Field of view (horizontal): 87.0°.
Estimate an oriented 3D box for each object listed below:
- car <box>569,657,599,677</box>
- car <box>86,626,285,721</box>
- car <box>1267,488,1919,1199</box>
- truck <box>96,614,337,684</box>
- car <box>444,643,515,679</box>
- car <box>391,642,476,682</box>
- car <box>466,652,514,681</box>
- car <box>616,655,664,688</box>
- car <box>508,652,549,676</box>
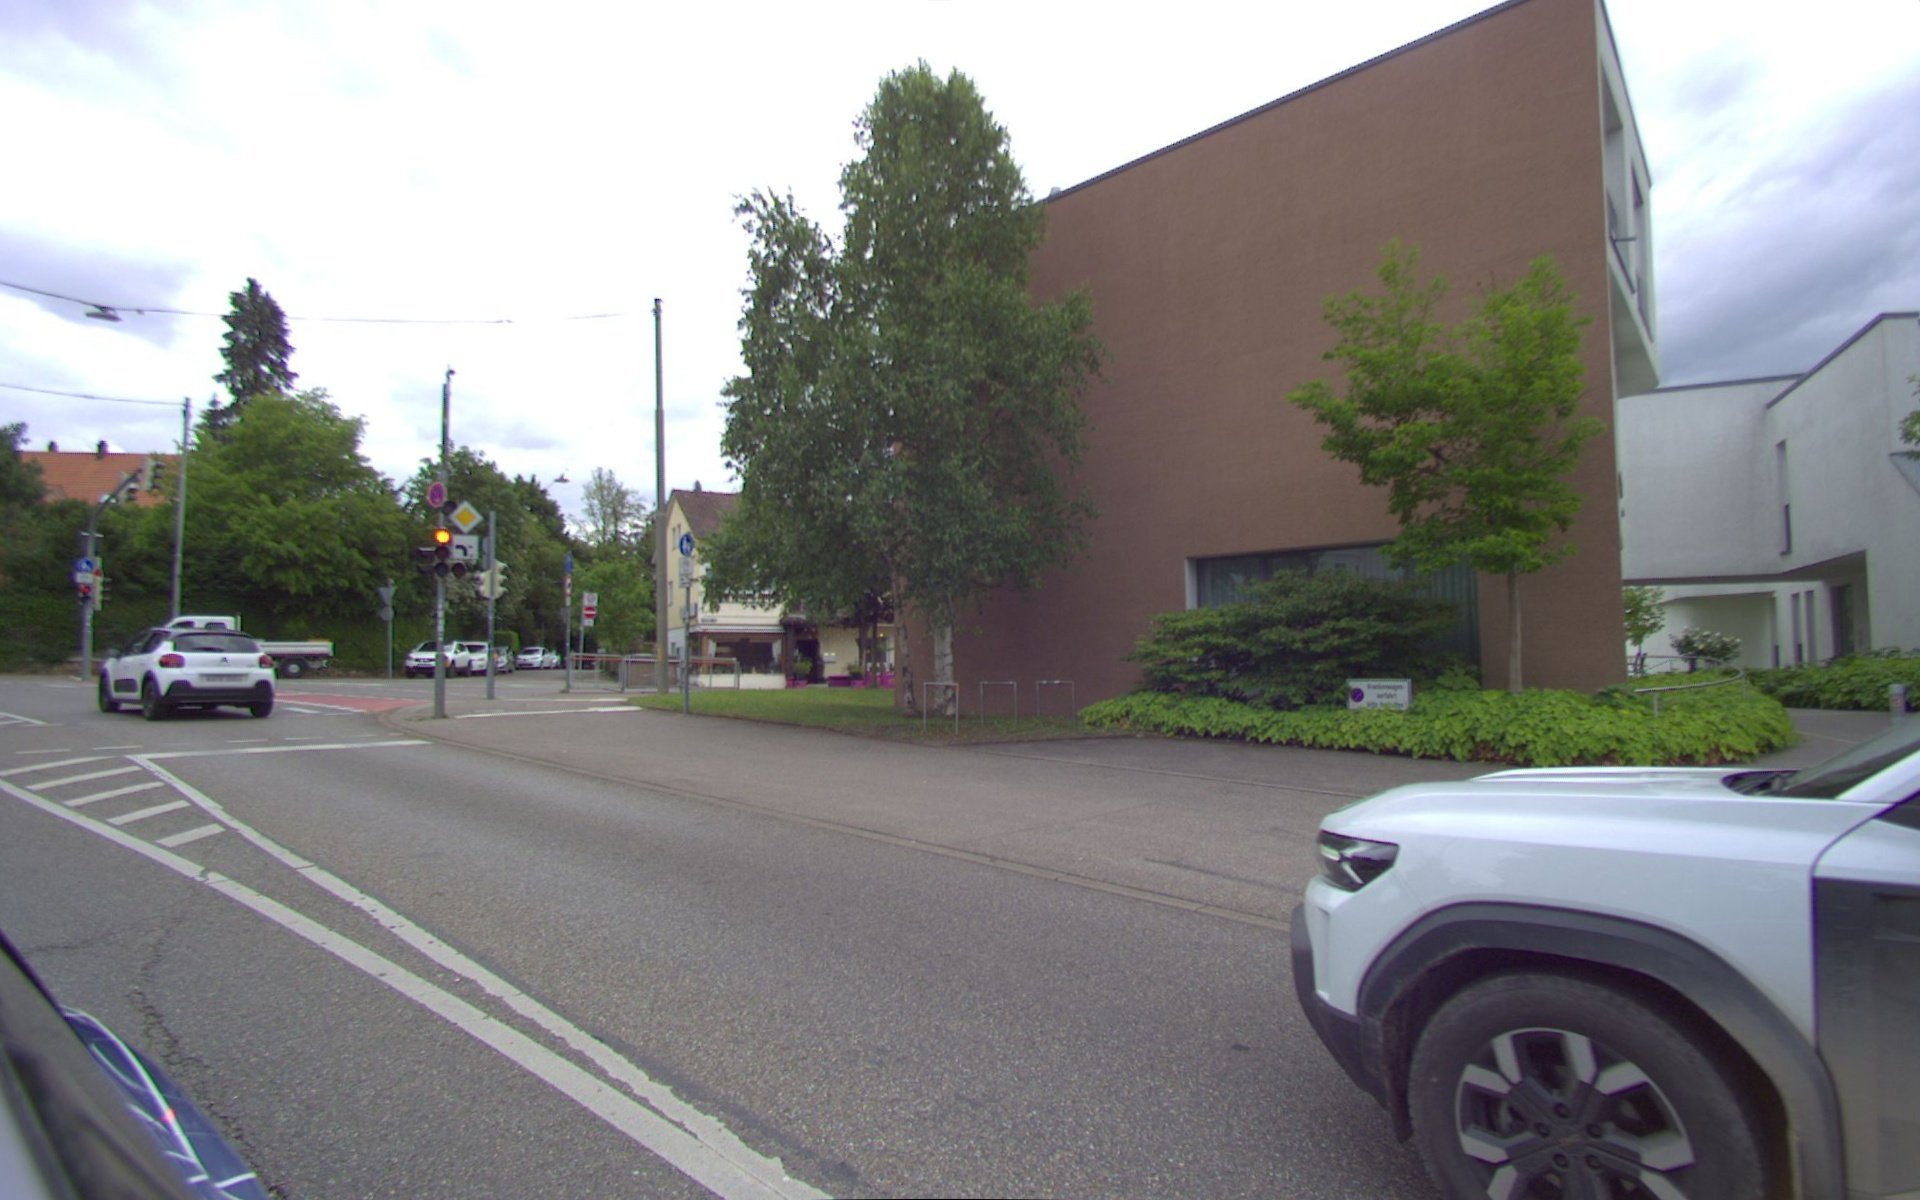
[{"bbox_3d":[-32.600,5.798,87.857,1.841,1.599,3.739,2,-3,-12],"label":"car"},{"bbox_3d":[-13.187,1.218,17.186,3.751,1.451,1.679,-1,-6,38],"label":"car"},{"bbox_3d":[2.965,0.672,1.804,4.303,1.650,1.749,-2,-6,44],"label":"car"},{"bbox_3d":[-26.237,1.796,36.055,6.607,2.205,2.536,4,-4,-35],"label":"truck"},{"bbox_3d":[-23.212,2.971,49.064,1.968,1.625,4.007,2,-4,-8],"label":"car"},{"bbox_3d":[-22.551,2.659,43.489,1.968,1.625,4.007,2,-4,-8],"label":"car"},{"bbox_3d":[-25.315,3.558,54.624,1.840,1.464,3.742,1,-3,-18],"label":"car"},{"bbox_3d":[-15.244,3.362,48.105,1.848,1.460,4.013,3,-4,-21],"label":"car"},{"bbox_3d":[-29.374,4.361,69.060,1.841,1.599,3.739,1,-3,-12],"label":"car"}]
